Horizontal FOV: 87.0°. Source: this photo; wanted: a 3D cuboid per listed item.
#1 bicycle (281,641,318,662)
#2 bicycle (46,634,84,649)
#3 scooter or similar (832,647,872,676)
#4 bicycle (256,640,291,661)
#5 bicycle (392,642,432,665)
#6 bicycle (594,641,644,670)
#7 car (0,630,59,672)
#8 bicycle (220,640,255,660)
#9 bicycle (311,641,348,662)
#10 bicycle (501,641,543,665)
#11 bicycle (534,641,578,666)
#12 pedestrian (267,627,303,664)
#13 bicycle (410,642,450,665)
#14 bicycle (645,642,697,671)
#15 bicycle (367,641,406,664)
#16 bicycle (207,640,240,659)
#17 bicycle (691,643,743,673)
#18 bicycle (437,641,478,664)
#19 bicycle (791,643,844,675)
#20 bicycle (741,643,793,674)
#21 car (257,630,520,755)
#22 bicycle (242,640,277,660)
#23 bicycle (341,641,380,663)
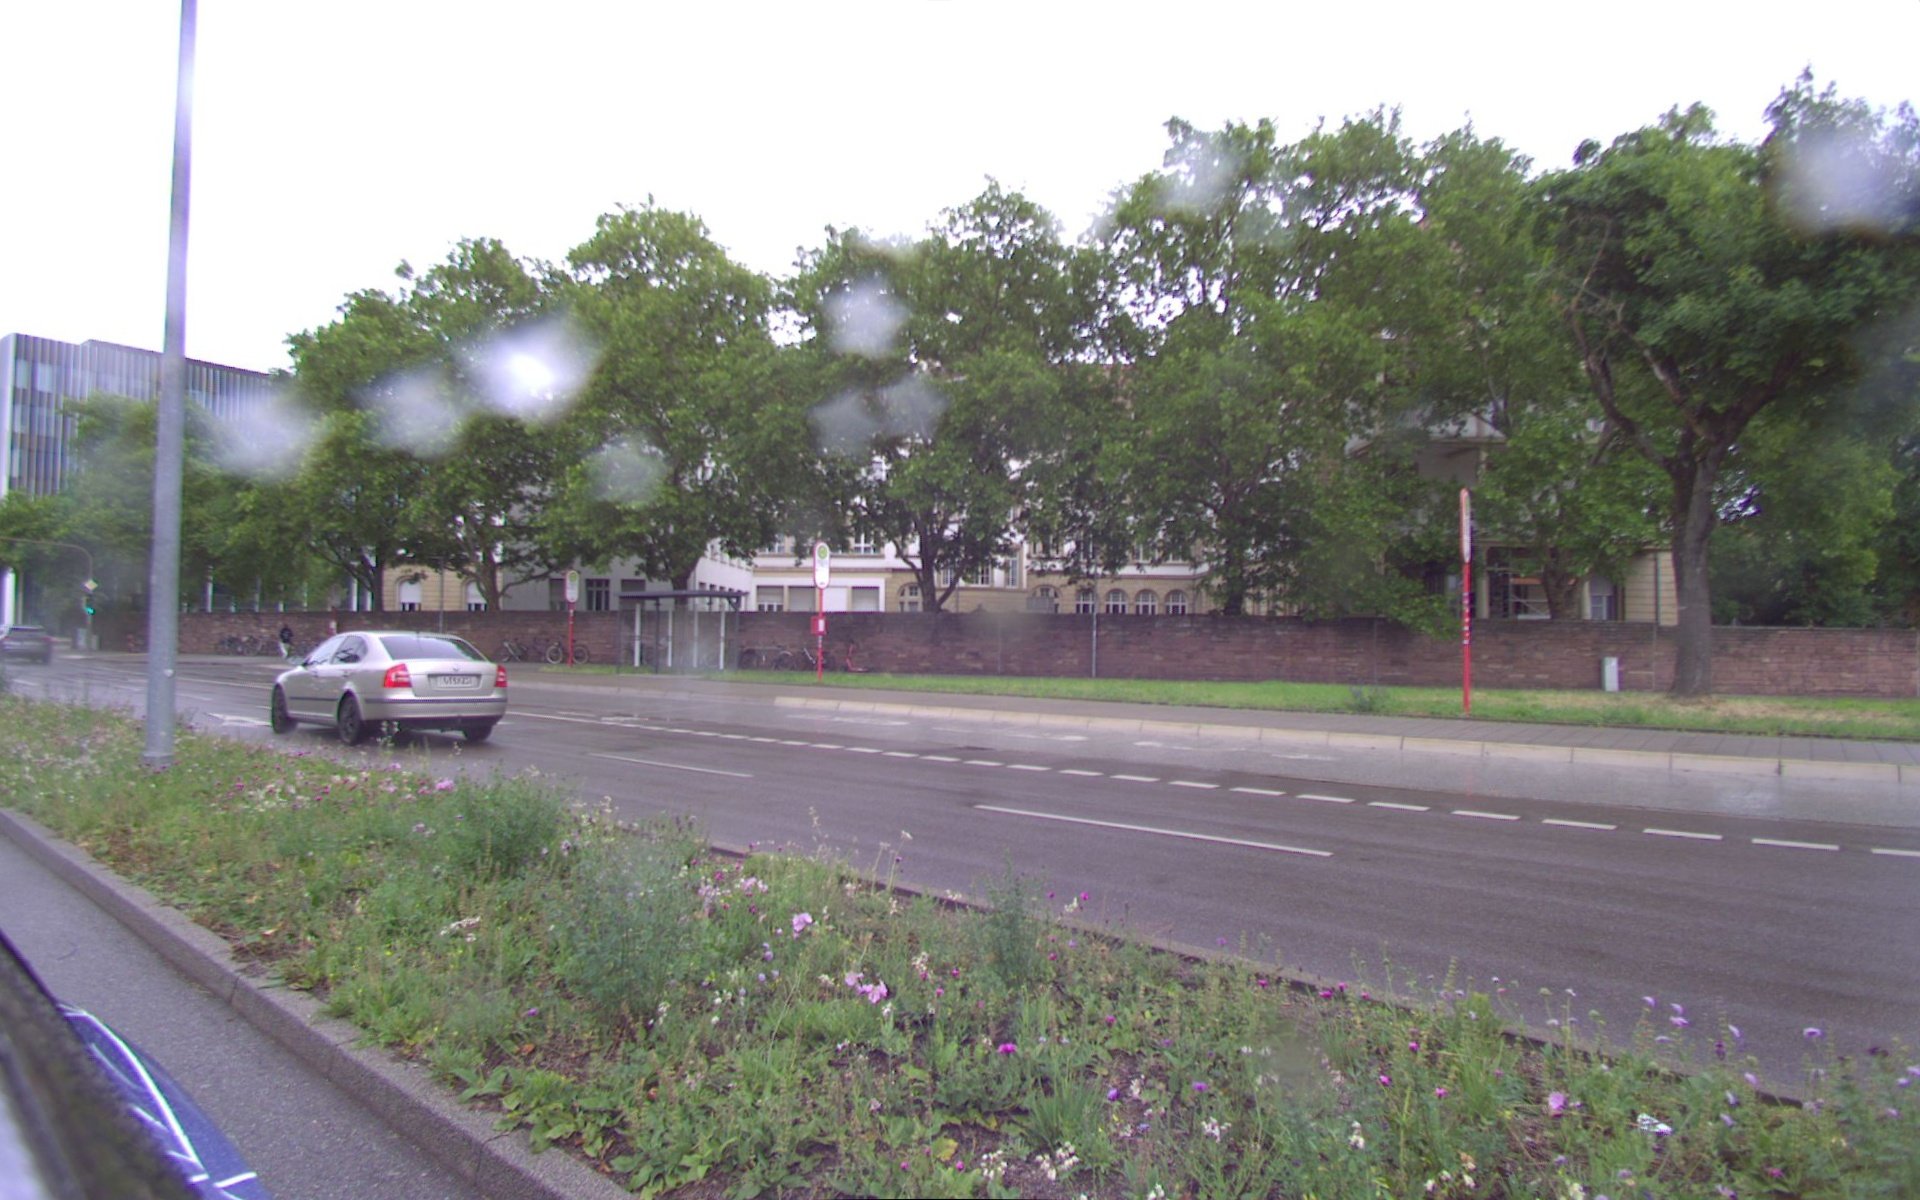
[{"bbox_3d":[-32.133,2.473,49.215,1.692,0.990,0.727,-1,-2,27],"label":"bicycle"},{"bbox_3d":[-73.831,3.411,83.525,0.595,1.231,2.267,-1,-3,25],"label":"bicycle"},{"bbox_3d":[-3.994,2.280,37.469,1.353,1.055,0.570,-1,-3,22],"label":"scooter or similar"},{"bbox_3d":[-33.868,2.491,49.943,1.858,0.990,0.726,-1,-2,31],"label":"bicycle"},{"bbox_3d":[-24.633,2.384,45.495,1.692,0.990,0.727,-1,-2,27],"label":"bicycle"},{"bbox_3d":[-13.688,2.230,40.612,1.975,1.144,0.571,-1,-3,18],"label":"bicycle"},{"bbox_3d":[-40.275,2.159,43.247,4.600,1.648,1.973,-1,-5,41],"label":"car"},{"bbox_3d":[-37.129,2.557,52.014,1.692,0.990,0.727,-1,-2,27],"label":"bicycle"},{"bbox_3d":[-30.150,2.452,48.362,1.692,0.990,0.727,-1,-2,27],"label":"bicycle"},{"bbox_3d":[-18.468,2.231,42.678,1.692,0.990,0.727,-1,-2,27],"label":"bicycle"},{"bbox_3d":[-16.637,2.207,41.695,1.692,0.990,0.727,-1,-2,27],"label":"bicycle"},{"bbox_3d":[-31.904,2.145,47.846,1.395,1.708,0.862,-1,-3,32],"label":"pedestrian"},{"bbox_3d":[-23.475,2.363,44.801,1.692,0.990,0.727,-1,-2,27],"label":"bicycle"},{"bbox_3d":[-11.403,2.216,39.887,1.975,1.144,0.571,-1,-3,18],"label":"bicycle"},{"bbox_3d":[-26.204,2.388,46.217,1.692,0.990,0.727,-1,-2,27],"label":"bicycle"},{"bbox_3d":[-38.739,2.597,53.234,1.692,0.990,0.727,-1,-2,27],"label":"bicycle"},{"bbox_3d":[-9.434,2.229,39.289,1.978,1.144,0.570,-1,-3,22],"label":"bicycle"},{"bbox_3d":[-21.564,2.245,43.435,1.692,0.990,0.727,-1,-2,27],"label":"bicycle"},{"bbox_3d":[-5.346,2.202,37.967,1.978,1.144,0.570,-1,-3,22],"label":"bicycle"},{"bbox_3d":[-7.335,2.226,38.444,1.978,1.144,0.570,-1,-3,22],"label":"bicycle"},{"bbox_3d":[-7.757,1.123,13.588,4.179,1.426,1.677,-1,-3,40],"label":"car"},{"bbox_3d":[-35.538,2.540,51.345,1.692,0.990,0.727,-1,-2,27],"label":"bicycle"},{"bbox_3d":[-27.794,2.407,46.931,1.692,0.990,0.727,-1,-2,27],"label":"bicycle"}]
